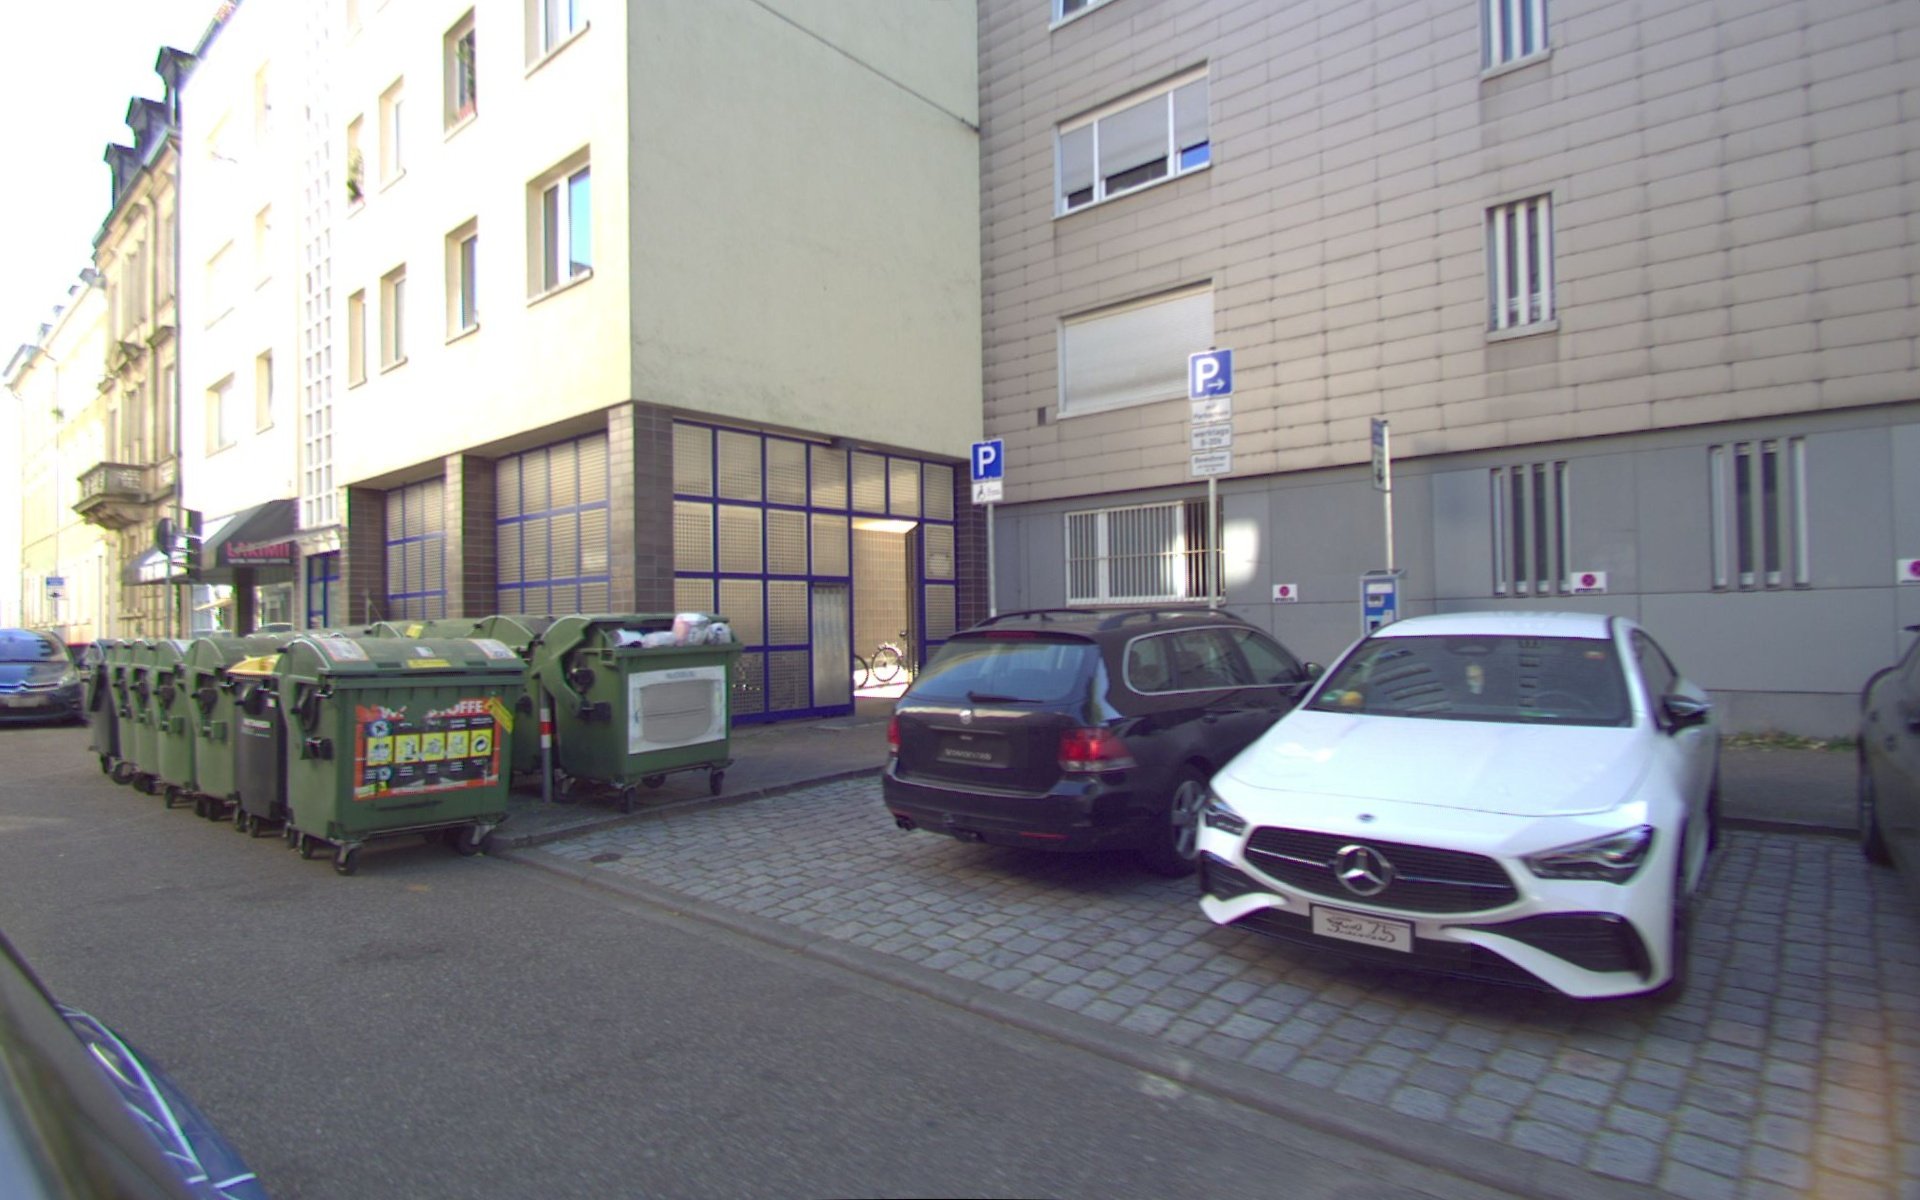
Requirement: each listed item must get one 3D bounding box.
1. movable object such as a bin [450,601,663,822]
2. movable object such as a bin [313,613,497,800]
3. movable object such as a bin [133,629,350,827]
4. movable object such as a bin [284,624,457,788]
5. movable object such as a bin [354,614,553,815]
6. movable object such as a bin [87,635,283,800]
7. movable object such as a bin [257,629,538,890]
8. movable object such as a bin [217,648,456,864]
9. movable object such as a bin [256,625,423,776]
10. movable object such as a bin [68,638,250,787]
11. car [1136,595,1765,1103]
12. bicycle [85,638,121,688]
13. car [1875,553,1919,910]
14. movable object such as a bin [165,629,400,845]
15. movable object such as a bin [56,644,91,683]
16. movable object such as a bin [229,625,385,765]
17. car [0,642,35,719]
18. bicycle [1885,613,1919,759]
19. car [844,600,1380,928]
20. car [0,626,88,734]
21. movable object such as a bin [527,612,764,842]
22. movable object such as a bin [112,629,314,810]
[{"bbox_3d":[-3.359,0.851,8.459,1.171,1.665,1.217,-1,-1,35],"label":"movable object such as a bin"},{"bbox_3d":[-5.329,0.955,9.742,1.017,1.633,1.281,-1,-1,41],"label":"movable object such as a bin"},{"bbox_3d":[-6.181,1.023,8.735,1.017,1.510,1.329,-1,-1,41],"label":"movable object such as a bin"},{"bbox_3d":[-6.063,1.024,10.423,1.017,1.534,1.288,-1,-1,41],"label":"movable object such as a bin"},{"bbox_3d":[-4.519,0.945,9.051,1.081,1.616,1.275,-1,-1,41],"label":"movable object such as a bin"},{"bbox_3d":[-7.733,1.107,10.117,1.093,1.495,1.320,-1,-3,41],"label":"movable object such as a bin"},{"bbox_3d":[-3.676,0.937,6.655,1.116,1.462,1.288,-1,-1,37],"label":"movable object such as a bin"},{"bbox_3d":[-4.518,1.048,7.356,1.045,1.332,1.228,-1,-1,41],"label":"movable object such as a bin"},{"bbox_3d":[-6.838,1.041,11.172,1.156,1.510,1.292,-1,-1,41],"label":"movable object such as a bin"},{"bbox_3d":[-8.611,1.147,10.895,1.186,1.461,1.305,-1,-3,41],"label":"movable object such as a bin"},{"bbox_3d":[2.868,0.741,5.265,1.956,1.436,4.298,-1,0,40],"label":"car"},{"bbox_3d":[-22.912,1.662,27.049,1.867,1.286,0.505,-1,-2,43],"label":"bicycle"},{"bbox_3d":[4.863,0.593,3.711,1.914,1.622,4.422,-1,0,38],"label":"car"},{"bbox_3d":[-5.368,0.997,8.043,1.081,1.502,1.320,-1,-1,41],"label":"movable object such as a bin"},{"bbox_3d":[-27.286,1.943,31.145,0.584,1.140,0.712,-1,-2,37],"label":"movable object such as a bin"},{"bbox_3d":[-7.701,1.062,11.944,1.178,1.509,1.283,-1,-1,41],"label":"movable object such as a bin"},{"bbox_3d":[-20.643,1.610,20.837,4.816,1.428,1.826,-1,-3,41],"label":"car"},{"bbox_3d":[8.382,0.651,7.611,2.037,1.132,0.603,-3,-1,41],"label":"bicycle"},{"bbox_3d":[1.249,0.778,6.777,1.825,1.516,3.836,-1,-1,40],"label":"car"},{"bbox_3d":[-16.557,1.310,17.350,4.668,1.679,1.763,-2,-3,41],"label":"car"},{"bbox_3d":[-2.399,0.883,7.797,1.118,1.561,1.341,-1,-1,35],"label":"movable object such as a bin"},{"bbox_3d":[-6.945,1.038,9.434,1.002,1.498,1.334,-1,-1,41],"label":"movable object such as a bin"}]
